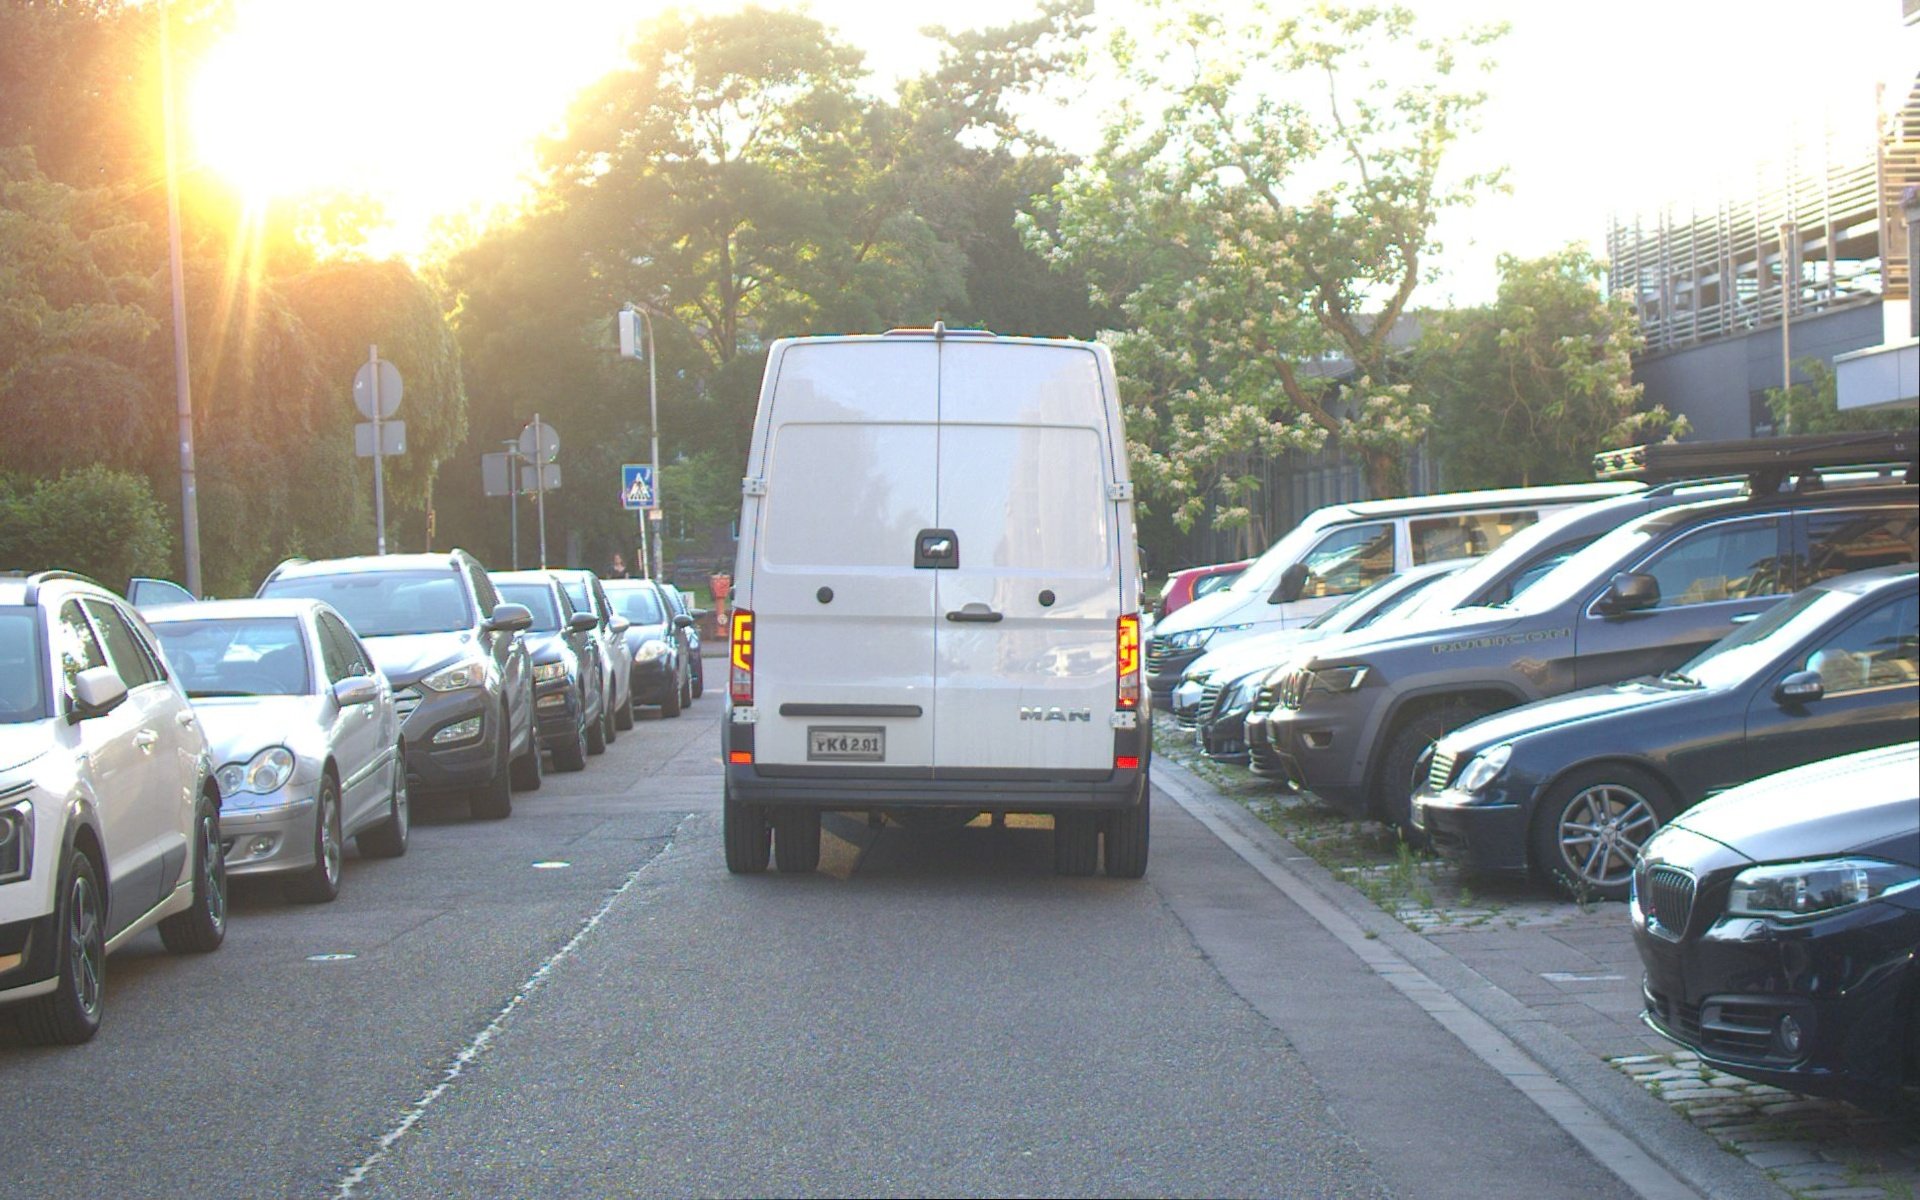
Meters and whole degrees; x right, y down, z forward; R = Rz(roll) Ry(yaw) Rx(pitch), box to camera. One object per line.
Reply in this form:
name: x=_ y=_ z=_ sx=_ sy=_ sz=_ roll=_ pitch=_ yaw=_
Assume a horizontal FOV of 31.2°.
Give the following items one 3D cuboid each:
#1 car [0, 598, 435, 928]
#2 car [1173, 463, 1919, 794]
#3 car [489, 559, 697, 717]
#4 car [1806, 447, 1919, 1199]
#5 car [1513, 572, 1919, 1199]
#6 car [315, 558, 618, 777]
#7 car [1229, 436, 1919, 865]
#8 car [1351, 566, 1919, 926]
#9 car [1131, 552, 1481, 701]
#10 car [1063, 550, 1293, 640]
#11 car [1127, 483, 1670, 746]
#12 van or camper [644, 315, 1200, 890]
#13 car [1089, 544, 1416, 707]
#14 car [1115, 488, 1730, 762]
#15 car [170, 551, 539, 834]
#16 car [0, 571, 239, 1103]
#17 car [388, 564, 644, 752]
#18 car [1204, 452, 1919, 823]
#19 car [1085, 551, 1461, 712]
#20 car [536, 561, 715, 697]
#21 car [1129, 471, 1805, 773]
car: x=-3.878 y=0.715 z=17.088 sx=1.993 sy=1.393 sz=4.000 roll=0 pitch=1 yaw=-1
car: x=3.901 y=0.168 z=23.465 sx=4.705 sy=2.138 sz=2.000 roll=0 pitch=1 yaw=-2
car: x=-3.950 y=0.368 z=37.549 sx=1.993 sy=1.612 sz=4.000 roll=0 pitch=1 yaw=-2
car: x=4.100 y=0.481 z=6.551 sx=4.433 sy=1.722 sz=1.773 roll=-2 pitch=1 yaw=-7
car: x=3.688 y=0.598 z=9.104 sx=3.986 sy=1.449 sz=1.836 roll=-4 pitch=1 yaw=-5
car: x=-3.860 y=0.472 z=27.517 sx=1.993 sy=1.612 sz=4.000 roll=0 pitch=1 yaw=-2
car: x=3.898 y=0.233 z=18.344 sx=4.705 sy=2.138 sz=2.000 roll=0 pitch=1 yaw=-2
car: x=4.051 y=0.586 z=15.745 sx=4.236 sy=1.420 sz=1.719 roll=-3 pitch=1 yaw=-1
car: x=4.098 y=0.300 z=41.239 sx=3.987 sy=1.722 sz=2.000 roll=0 pitch=1 yaw=0
car: x=3.998 y=-0.102 z=63.513 sx=3.986 sy=1.612 sz=2.000 roll=0 pitch=1 yaw=-4
car: x=3.793 y=0.113 z=30.328 sx=4.495 sy=2.223 sz=2.032 roll=0 pitch=1 yaw=-1
van or camper: x=-0.076 y=-0.029 z=18.379 sx=2.454 sy=2.538 sz=6.083 roll=1 pitch=1 yaw=2
car: x=3.656 y=0.303 z=43.558 sx=3.987 sy=2.007 sz=2.000 roll=0 pitch=1 yaw=1
car: x=3.704 y=0.180 z=28.143 sx=4.705 sy=2.138 sz=2.000 roll=0 pitch=1 yaw=-2
car: x=-3.815 y=0.520 z=22.310 sx=1.993 sy=1.656 sz=4.001 roll=0 pitch=1 yaw=-5
car: x=-3.810 y=0.722 z=12.096 sx=1.856 sy=1.549 sz=4.100 roll=-3 pitch=1 yaw=-4
car: x=-4.034 y=0.483 z=31.829 sx=1.993 sy=1.612 sz=4.000 roll=0 pitch=1 yaw=-2
car: x=3.951 y=0.200 z=21.038 sx=4.705 sy=2.138 sz=2.000 roll=0 pitch=1 yaw=-2
car: x=3.424 y=0.331 z=38.197 sx=3.987 sy=1.722 sz=2.000 roll=0 pitch=1 yaw=0
car: x=-4.137 y=0.320 z=43.059 sx=1.993 sy=1.612 sz=4.000 roll=0 pitch=1 yaw=-2
car: x=3.702 y=0.138 z=25.696 sx=4.705 sy=2.138 sz=2.000 roll=0 pitch=1 yaw=-2
